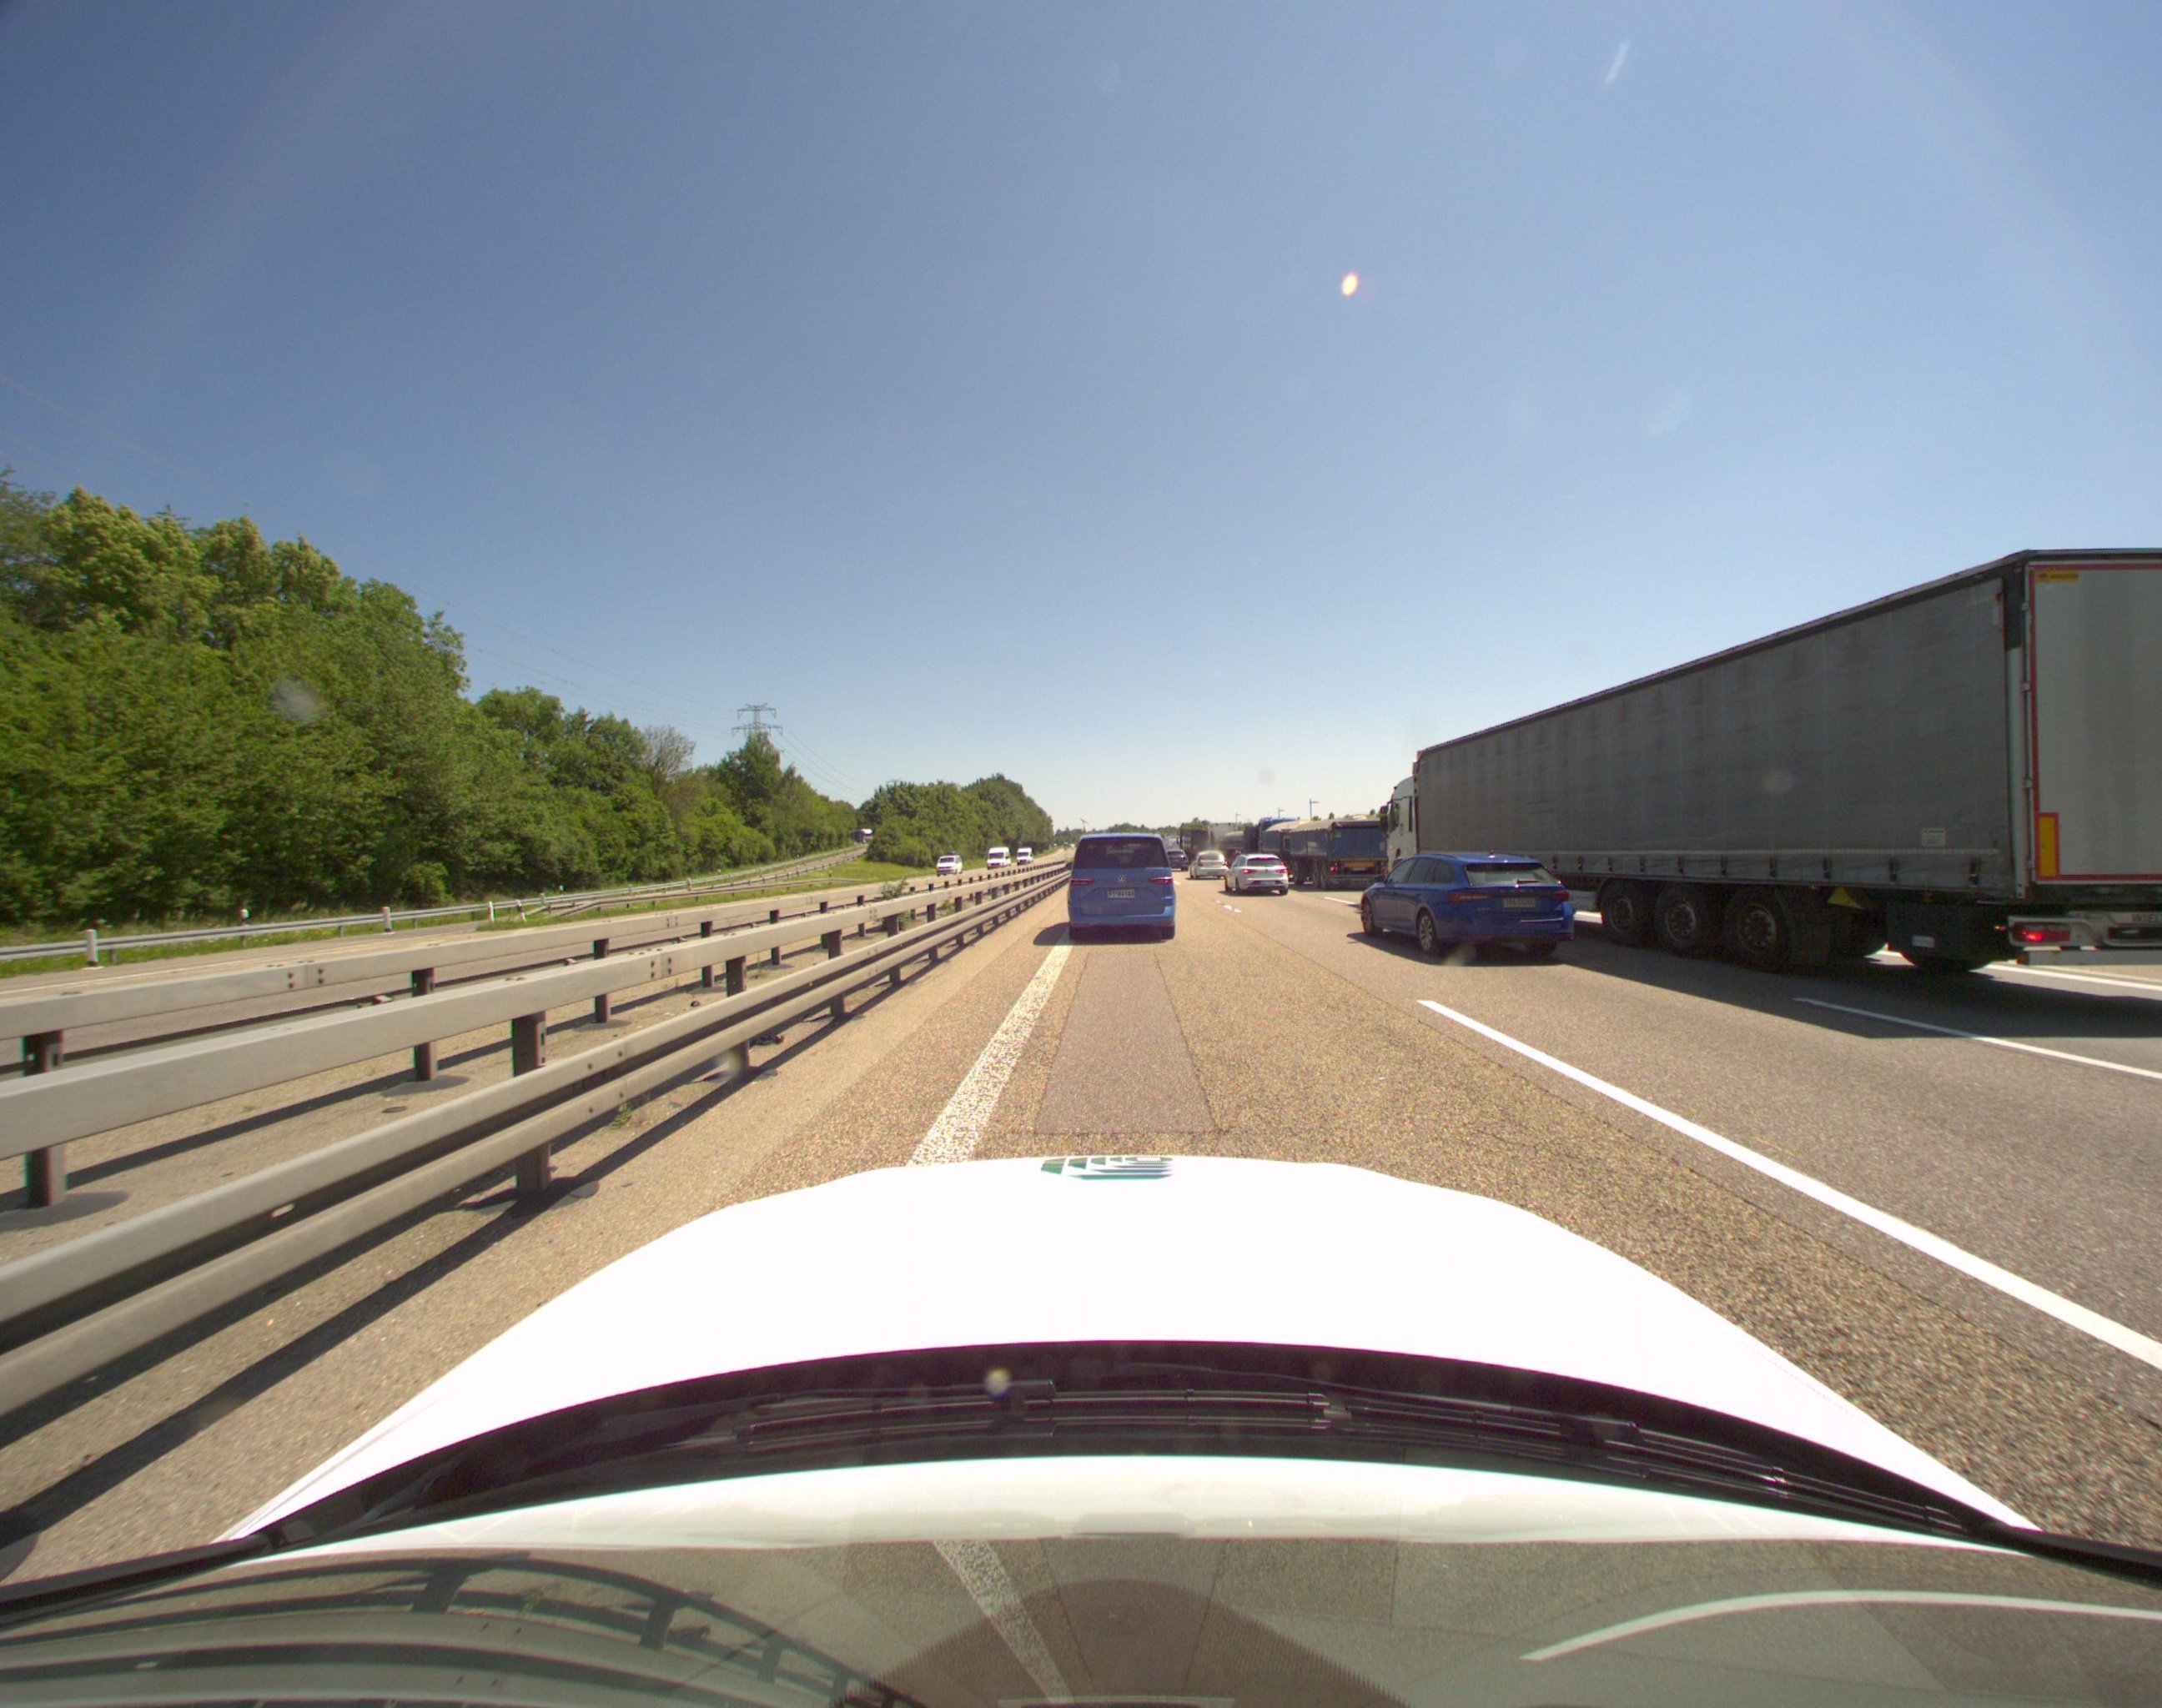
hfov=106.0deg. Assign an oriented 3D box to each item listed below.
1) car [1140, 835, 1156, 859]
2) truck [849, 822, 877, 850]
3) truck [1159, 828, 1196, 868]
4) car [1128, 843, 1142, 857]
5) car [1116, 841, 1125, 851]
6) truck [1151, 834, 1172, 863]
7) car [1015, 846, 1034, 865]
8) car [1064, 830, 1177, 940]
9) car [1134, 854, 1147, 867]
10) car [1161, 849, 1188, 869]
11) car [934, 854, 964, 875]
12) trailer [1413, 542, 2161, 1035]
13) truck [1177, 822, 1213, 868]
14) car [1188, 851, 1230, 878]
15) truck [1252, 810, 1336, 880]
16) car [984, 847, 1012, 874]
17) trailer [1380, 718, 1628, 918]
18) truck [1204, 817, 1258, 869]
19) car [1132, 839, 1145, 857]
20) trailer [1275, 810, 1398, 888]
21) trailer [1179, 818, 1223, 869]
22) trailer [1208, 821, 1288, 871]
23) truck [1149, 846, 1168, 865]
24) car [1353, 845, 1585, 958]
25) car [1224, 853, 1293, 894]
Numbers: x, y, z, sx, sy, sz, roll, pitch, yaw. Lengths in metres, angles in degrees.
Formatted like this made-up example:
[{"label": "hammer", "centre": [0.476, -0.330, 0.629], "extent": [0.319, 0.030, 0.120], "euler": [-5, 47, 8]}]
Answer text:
[{"label": "car", "centre": [15.196, -1.439, 184.590], "extent": [3.205, 5.257, 8.149], "euler": [0, -1, 3]}, {"label": "truck", "centre": [-60.701, -4.836, 226.668], "extent": [4.698, 7.228, 13.517], "euler": [0, -1, -28]}, {"label": "truck", "centre": [13.314, -0.679, 113.528], "extent": [3.608, 5.213, 15.691], "euler": [0, -1, 1]}, {"label": "car", "centre": [10.451, -0.791, 158.765], "extent": [2.541, 2.717, 5.624], "euler": [0, -1, 2]}, {"label": "car", "centre": [12.324, -2.486, 256.705], "extent": [2.478, 3.204, 7.369], "euler": [0, -1, -1]}, {"label": "truck", "centre": [14.407, -0.855, 146.396], "extent": [3.056, 4.920, 10.695], "euler": [0, -1, 2]}, {"label": "car", "centre": [-8.210, 0.229, 119.096], "extent": [2.148, 2.594, 5.892], "euler": [-2, -1, 2]}, {"label": "car", "centre": [0.792, 0.536, 15.664], "extent": [1.893, 1.838, 4.004], "euler": [0, -1, 4]}, {"label": "car", "centre": [9.663, 1.076, 131.705], "extent": [1.986, 2.014, 4.002], "euler": [0, -1, 2]}, {"label": "car", "centre": [7.105, 0.386, 62.310], "extent": [1.774, 1.524, 4.002], "euler": [0, -1, 2]}, {"label": "car", "centre": [-13.060, 1.031, 81.025], "extent": [1.858, 1.904, 5.493], "euler": [-3, -1, 1]}, {"label": "trailer", "centre": [9.537, -0.561, 13.571], "extent": [2.950, 4.049, 13.761], "euler": [-1, 0, 3]}, {"label": "truck", "centre": [13.218, -1.021, 94.634], "extent": [3.643, 5.180, 5.713], "euler": [0, -1, 3]}, {"label": "car", "centre": [7.022, 0.571, 44.886], "extent": [1.833, 1.454, 4.002], "euler": [0, -1, 2]}, {"label": "truck", "centre": [10.787, -0.437, 41.986], "extent": [2.733, 3.311, 7.137], "euler": [0, 0, 3]}, {"label": "car", "centre": [-8.892, 0.678, 88.210], "extent": [2.045, 2.651, 5.841], "euler": [-5, -1, 2]}, {"label": "trailer", "centre": [9.807, -0.748, 19.832], "extent": [2.913, 4.044, 6.415], "euler": [-1, 0, 3]}, {"label": "truck", "centre": [12.427, -0.832, 68.122], "extent": [3.610, 4.094, 7.531], "euler": [0, -1, 4]}, {"label": "car", "centre": [16.778, -1.748, 239.370], "extent": [3.209, 5.257, 8.140], "euler": [0, -1, -1]}, {"label": "trailer", "centre": [10.426, -0.177, 34.332], "extent": [2.733, 2.836, 9.121], "euler": [0, 0, 3]}, {"label": "trailer", "centre": [12.819, -0.997, 88.272], "extent": [3.631, 5.136, 13.087], "euler": [0, -1, 4]}, {"label": "trailer", "centre": [11.680, -0.406, 58.915], "extent": [3.630, 3.079, 15.789], "euler": [0, -1, 4]}, {"label": "truck", "centre": [7.872, 0.150, 82.887], "extent": [1.718, 1.857, 4.002], "euler": [0, -1, 2]}, {"label": "car", "centre": [5.713, 0.630, 12.662], "extent": [1.699, 1.441, 4.431], "euler": [0, -1, 3]}, {"label": "car", "centre": [6.270, 0.644, 29.149], "extent": [1.859, 1.361, 4.004], "euler": [0, 0, 4]}]
